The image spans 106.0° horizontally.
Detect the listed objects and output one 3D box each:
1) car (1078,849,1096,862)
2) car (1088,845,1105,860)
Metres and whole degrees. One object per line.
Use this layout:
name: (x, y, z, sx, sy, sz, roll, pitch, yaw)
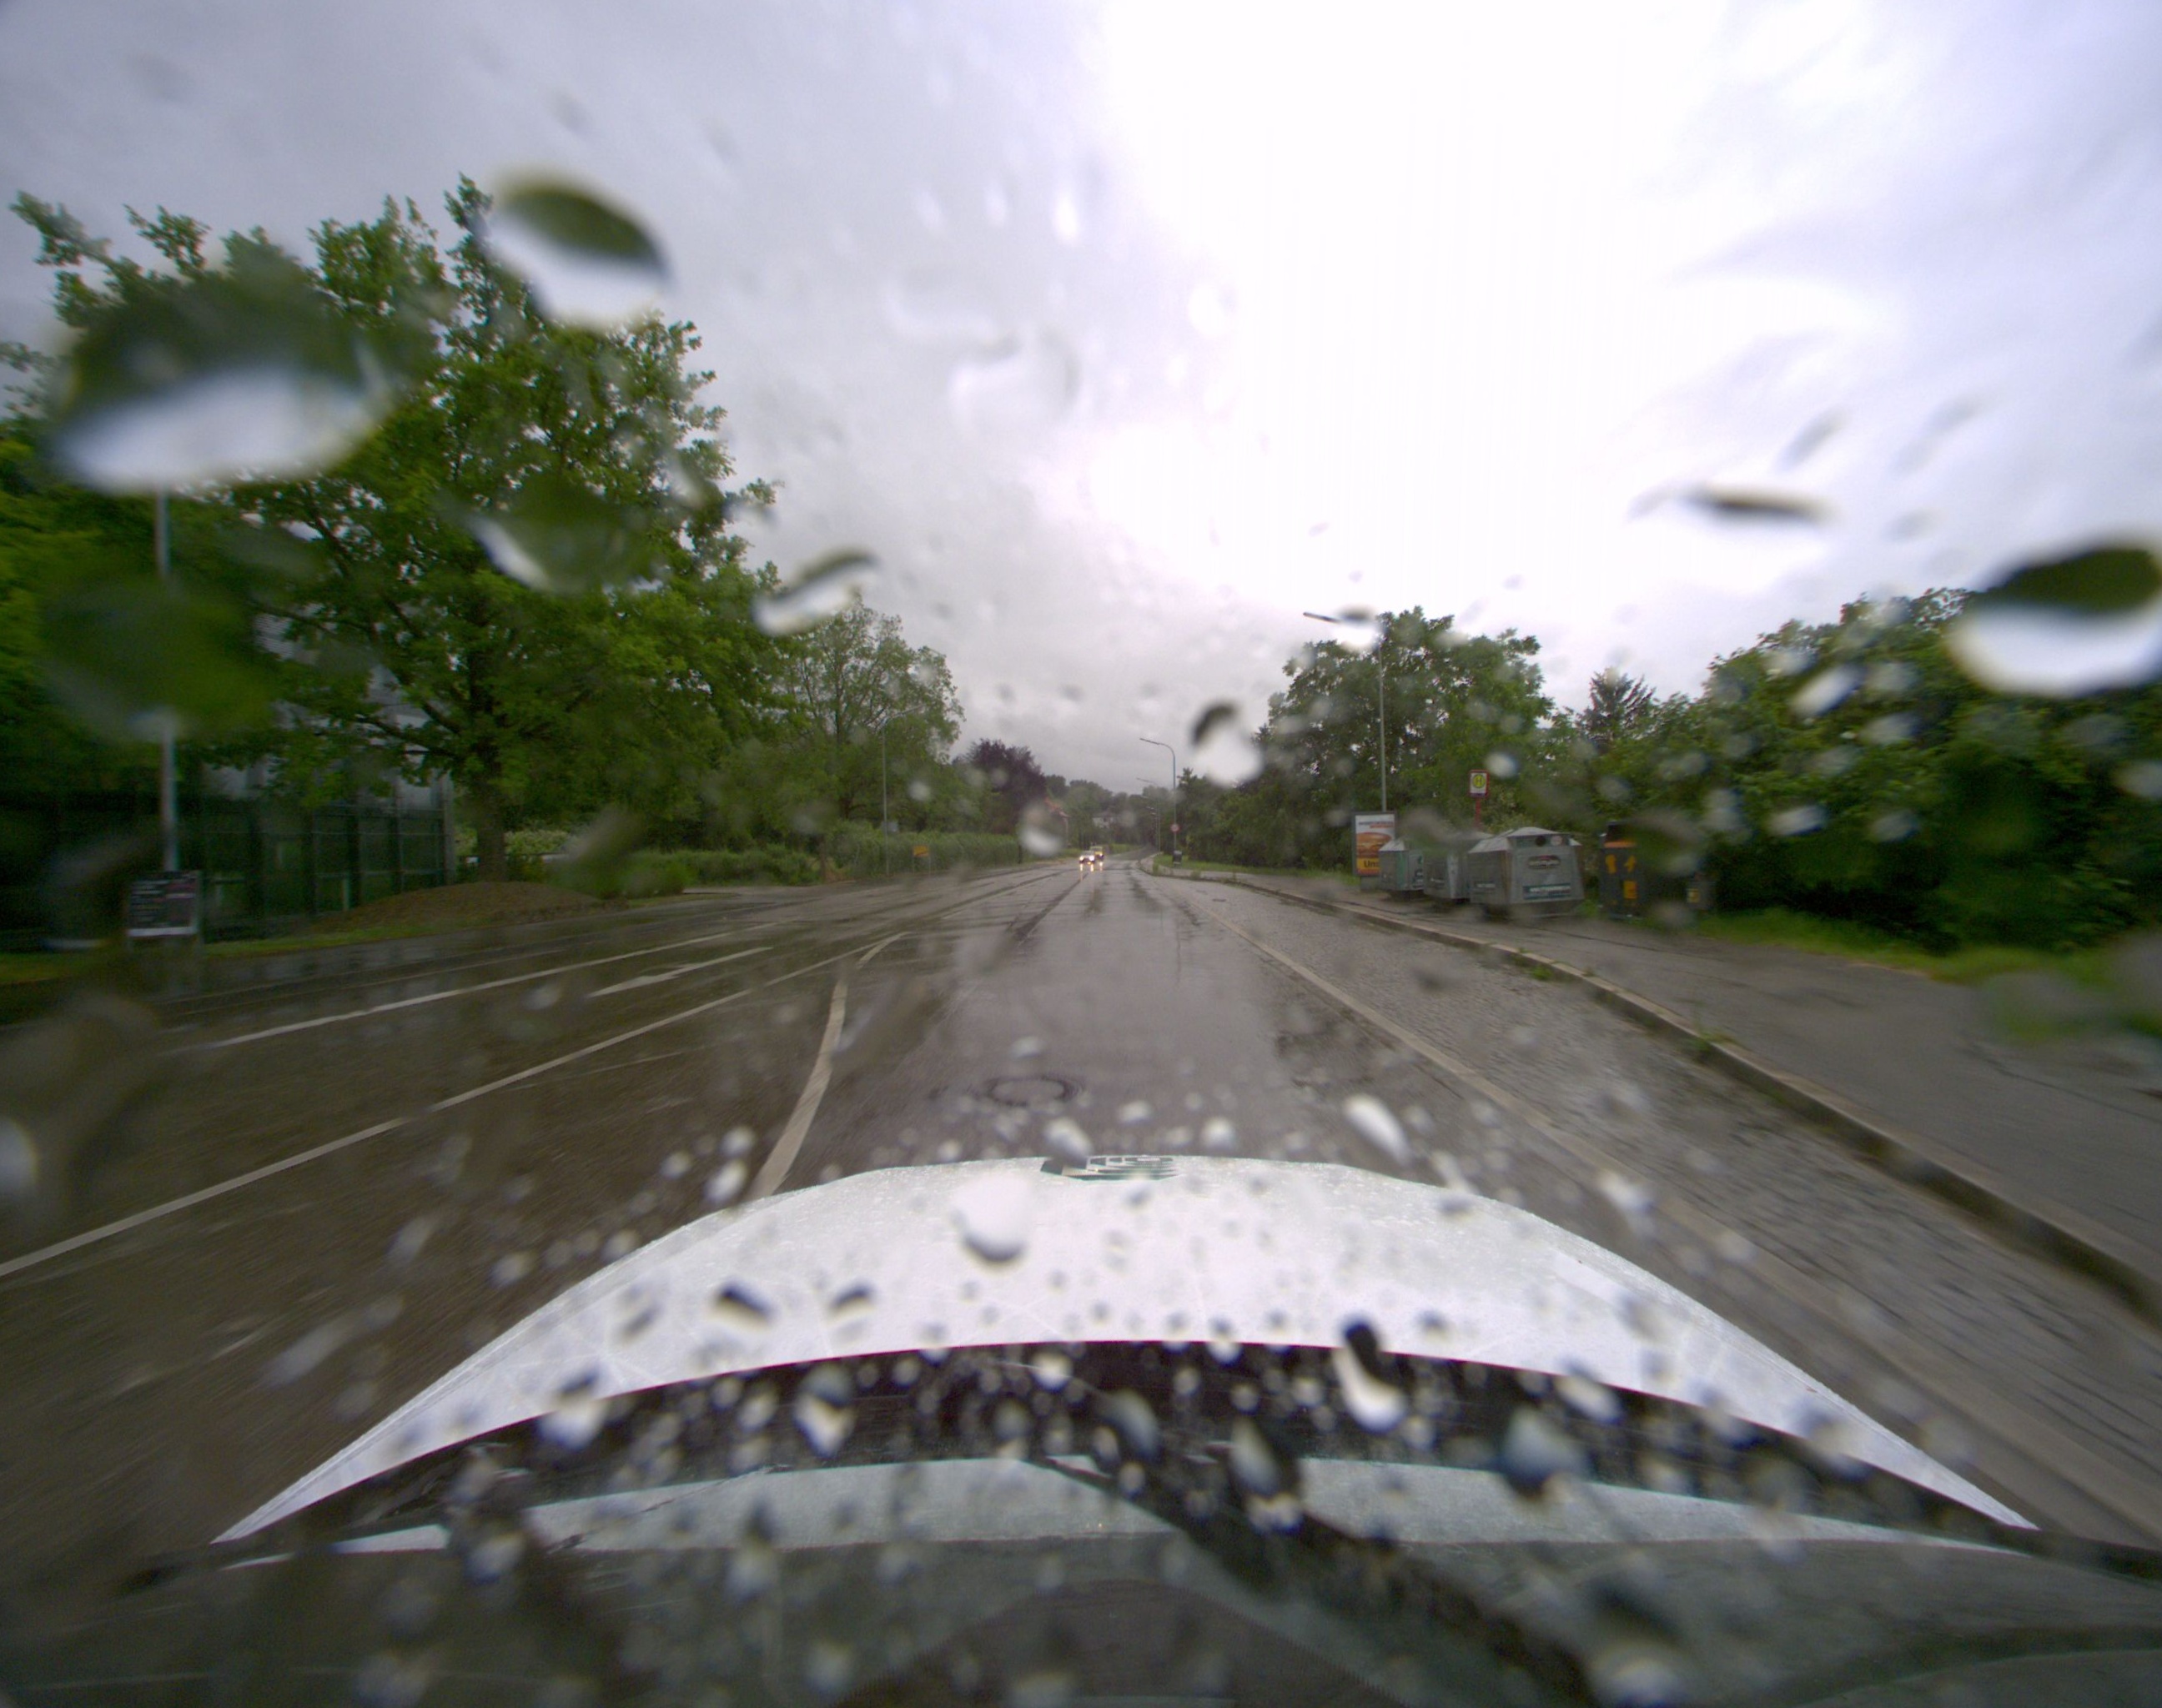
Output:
car: (0.647, 0.137, 88.630, 1.694, 1.349, 3.909, -1, 0, 3)
car: (2.026, -0.258, 105.285, 1.928, 1.871, 5.043, -1, 0, 5)
